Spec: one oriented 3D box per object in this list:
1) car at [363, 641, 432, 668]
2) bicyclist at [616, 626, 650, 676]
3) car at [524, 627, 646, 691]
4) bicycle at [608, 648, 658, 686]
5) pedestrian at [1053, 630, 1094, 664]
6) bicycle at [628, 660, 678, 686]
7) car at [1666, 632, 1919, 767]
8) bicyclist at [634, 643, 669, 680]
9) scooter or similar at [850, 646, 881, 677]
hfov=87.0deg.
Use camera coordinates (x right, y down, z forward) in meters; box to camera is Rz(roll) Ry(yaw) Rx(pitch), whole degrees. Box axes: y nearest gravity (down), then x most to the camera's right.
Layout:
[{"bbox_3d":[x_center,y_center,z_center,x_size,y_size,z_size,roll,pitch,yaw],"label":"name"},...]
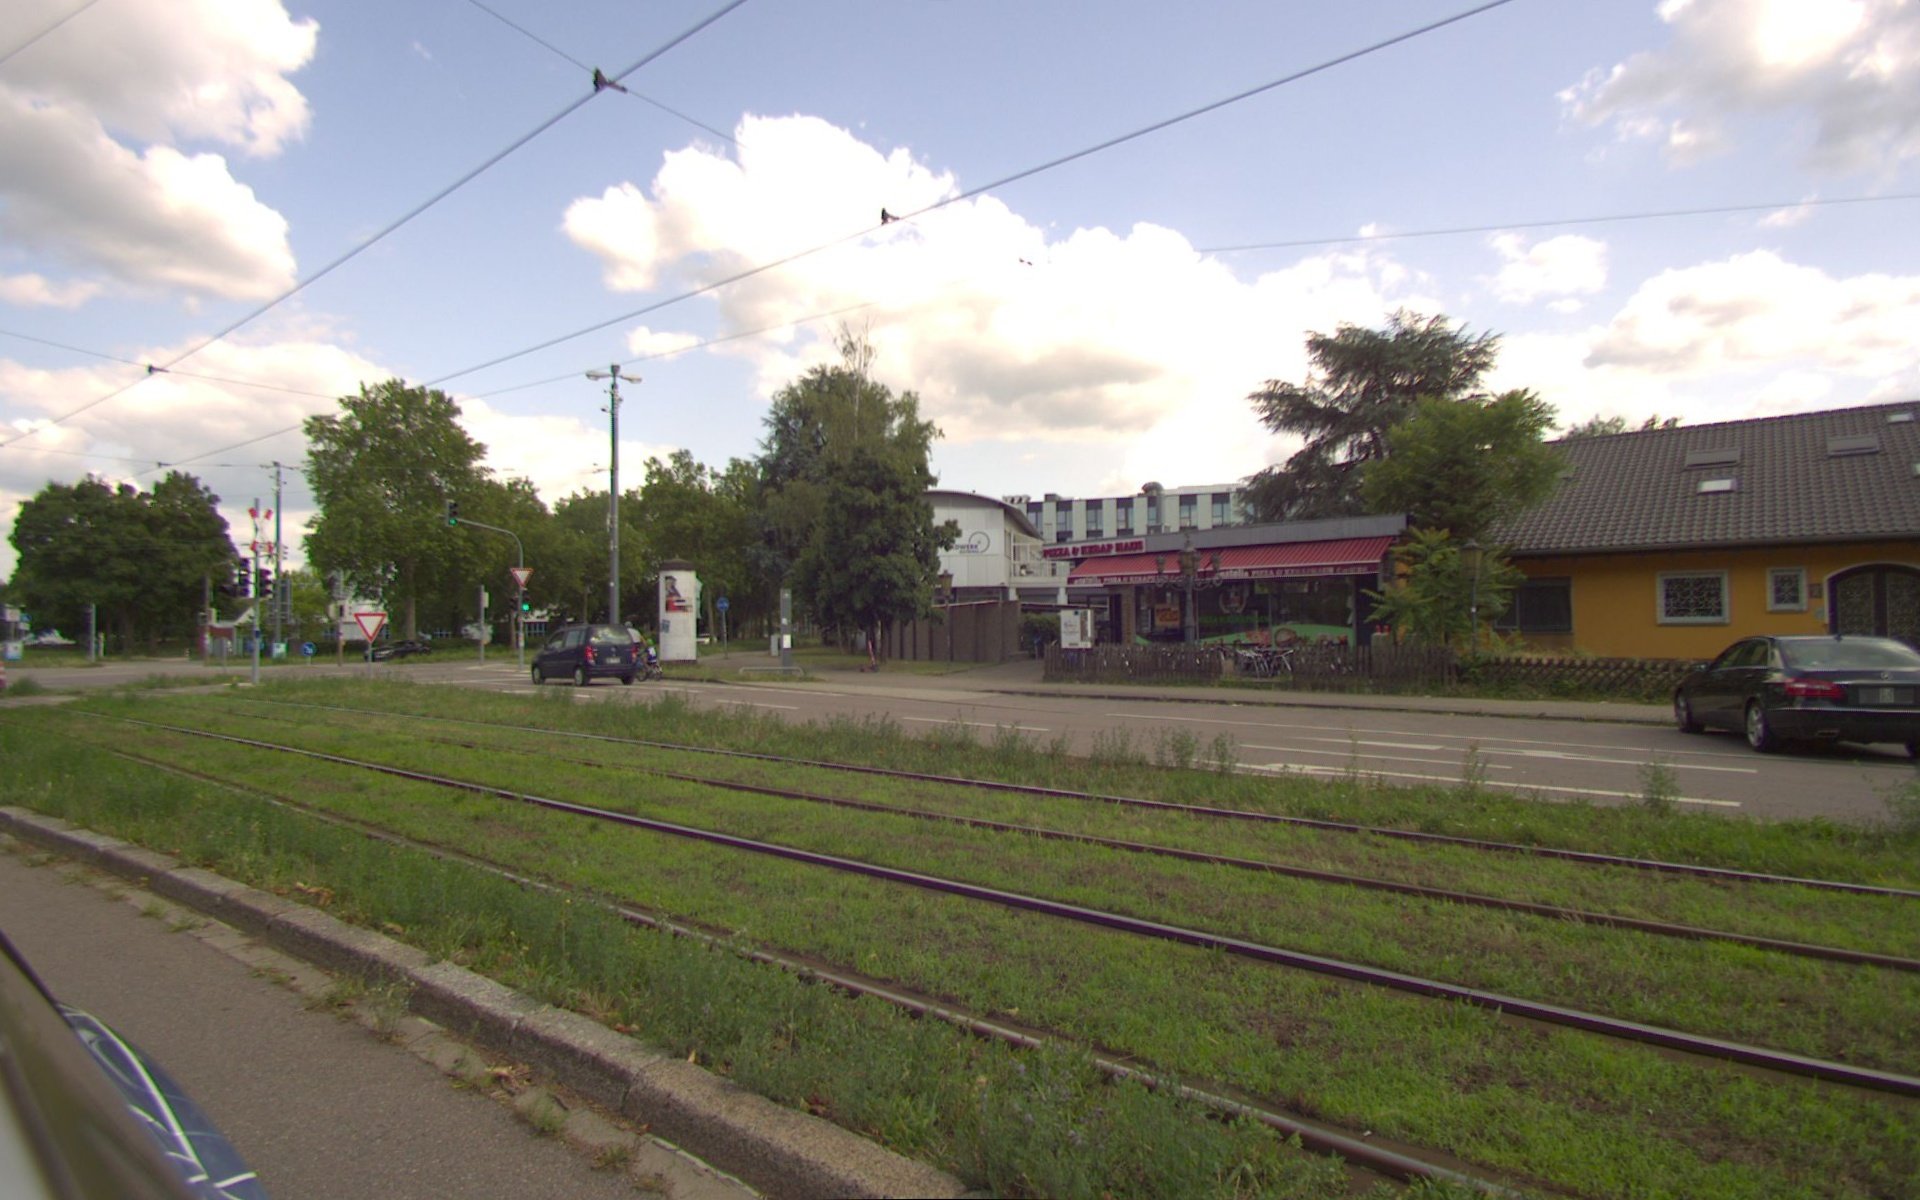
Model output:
[{"bbox_3d":[-34.019,3.287,61.306,1.680,1.535,3.846,-1,-2,8],"label":"car"},{"bbox_3d":[-9.758,1.510,30.195,0.928,1.468,0.616,-2,-3,43],"label":"bicyclist"},{"bbox_3d":[-10.458,1.591,28.168,3.494,1.639,1.760,-2,-2,41],"label":"car"},{"bbox_3d":[-9.773,1.986,30.216,1.805,1.088,0.638,-2,-3,44],"label":"bicycle"},{"bbox_3d":[3.978,1.645,35.406,0.931,1.155,1.140,-2,-3,42],"label":"pedestrian"},{"bbox_3d":[-9.322,2.195,30.695,1.805,0.723,0.638,-2,-3,44],"label":"bicycle"},{"bbox_3d":[10.897,1.139,12.991,1.869,1.418,4.619,0,-2,20],"label":"car"},{"bbox_3d":[-9.366,1.859,30.741,0.929,1.121,0.632,-2,-3,44],"label":"bicyclist"},{"bbox_3d":[-3.206,2.076,34.320,0.421,1.041,1.225,1,-2,-39],"label":"scooter or similar"}]
